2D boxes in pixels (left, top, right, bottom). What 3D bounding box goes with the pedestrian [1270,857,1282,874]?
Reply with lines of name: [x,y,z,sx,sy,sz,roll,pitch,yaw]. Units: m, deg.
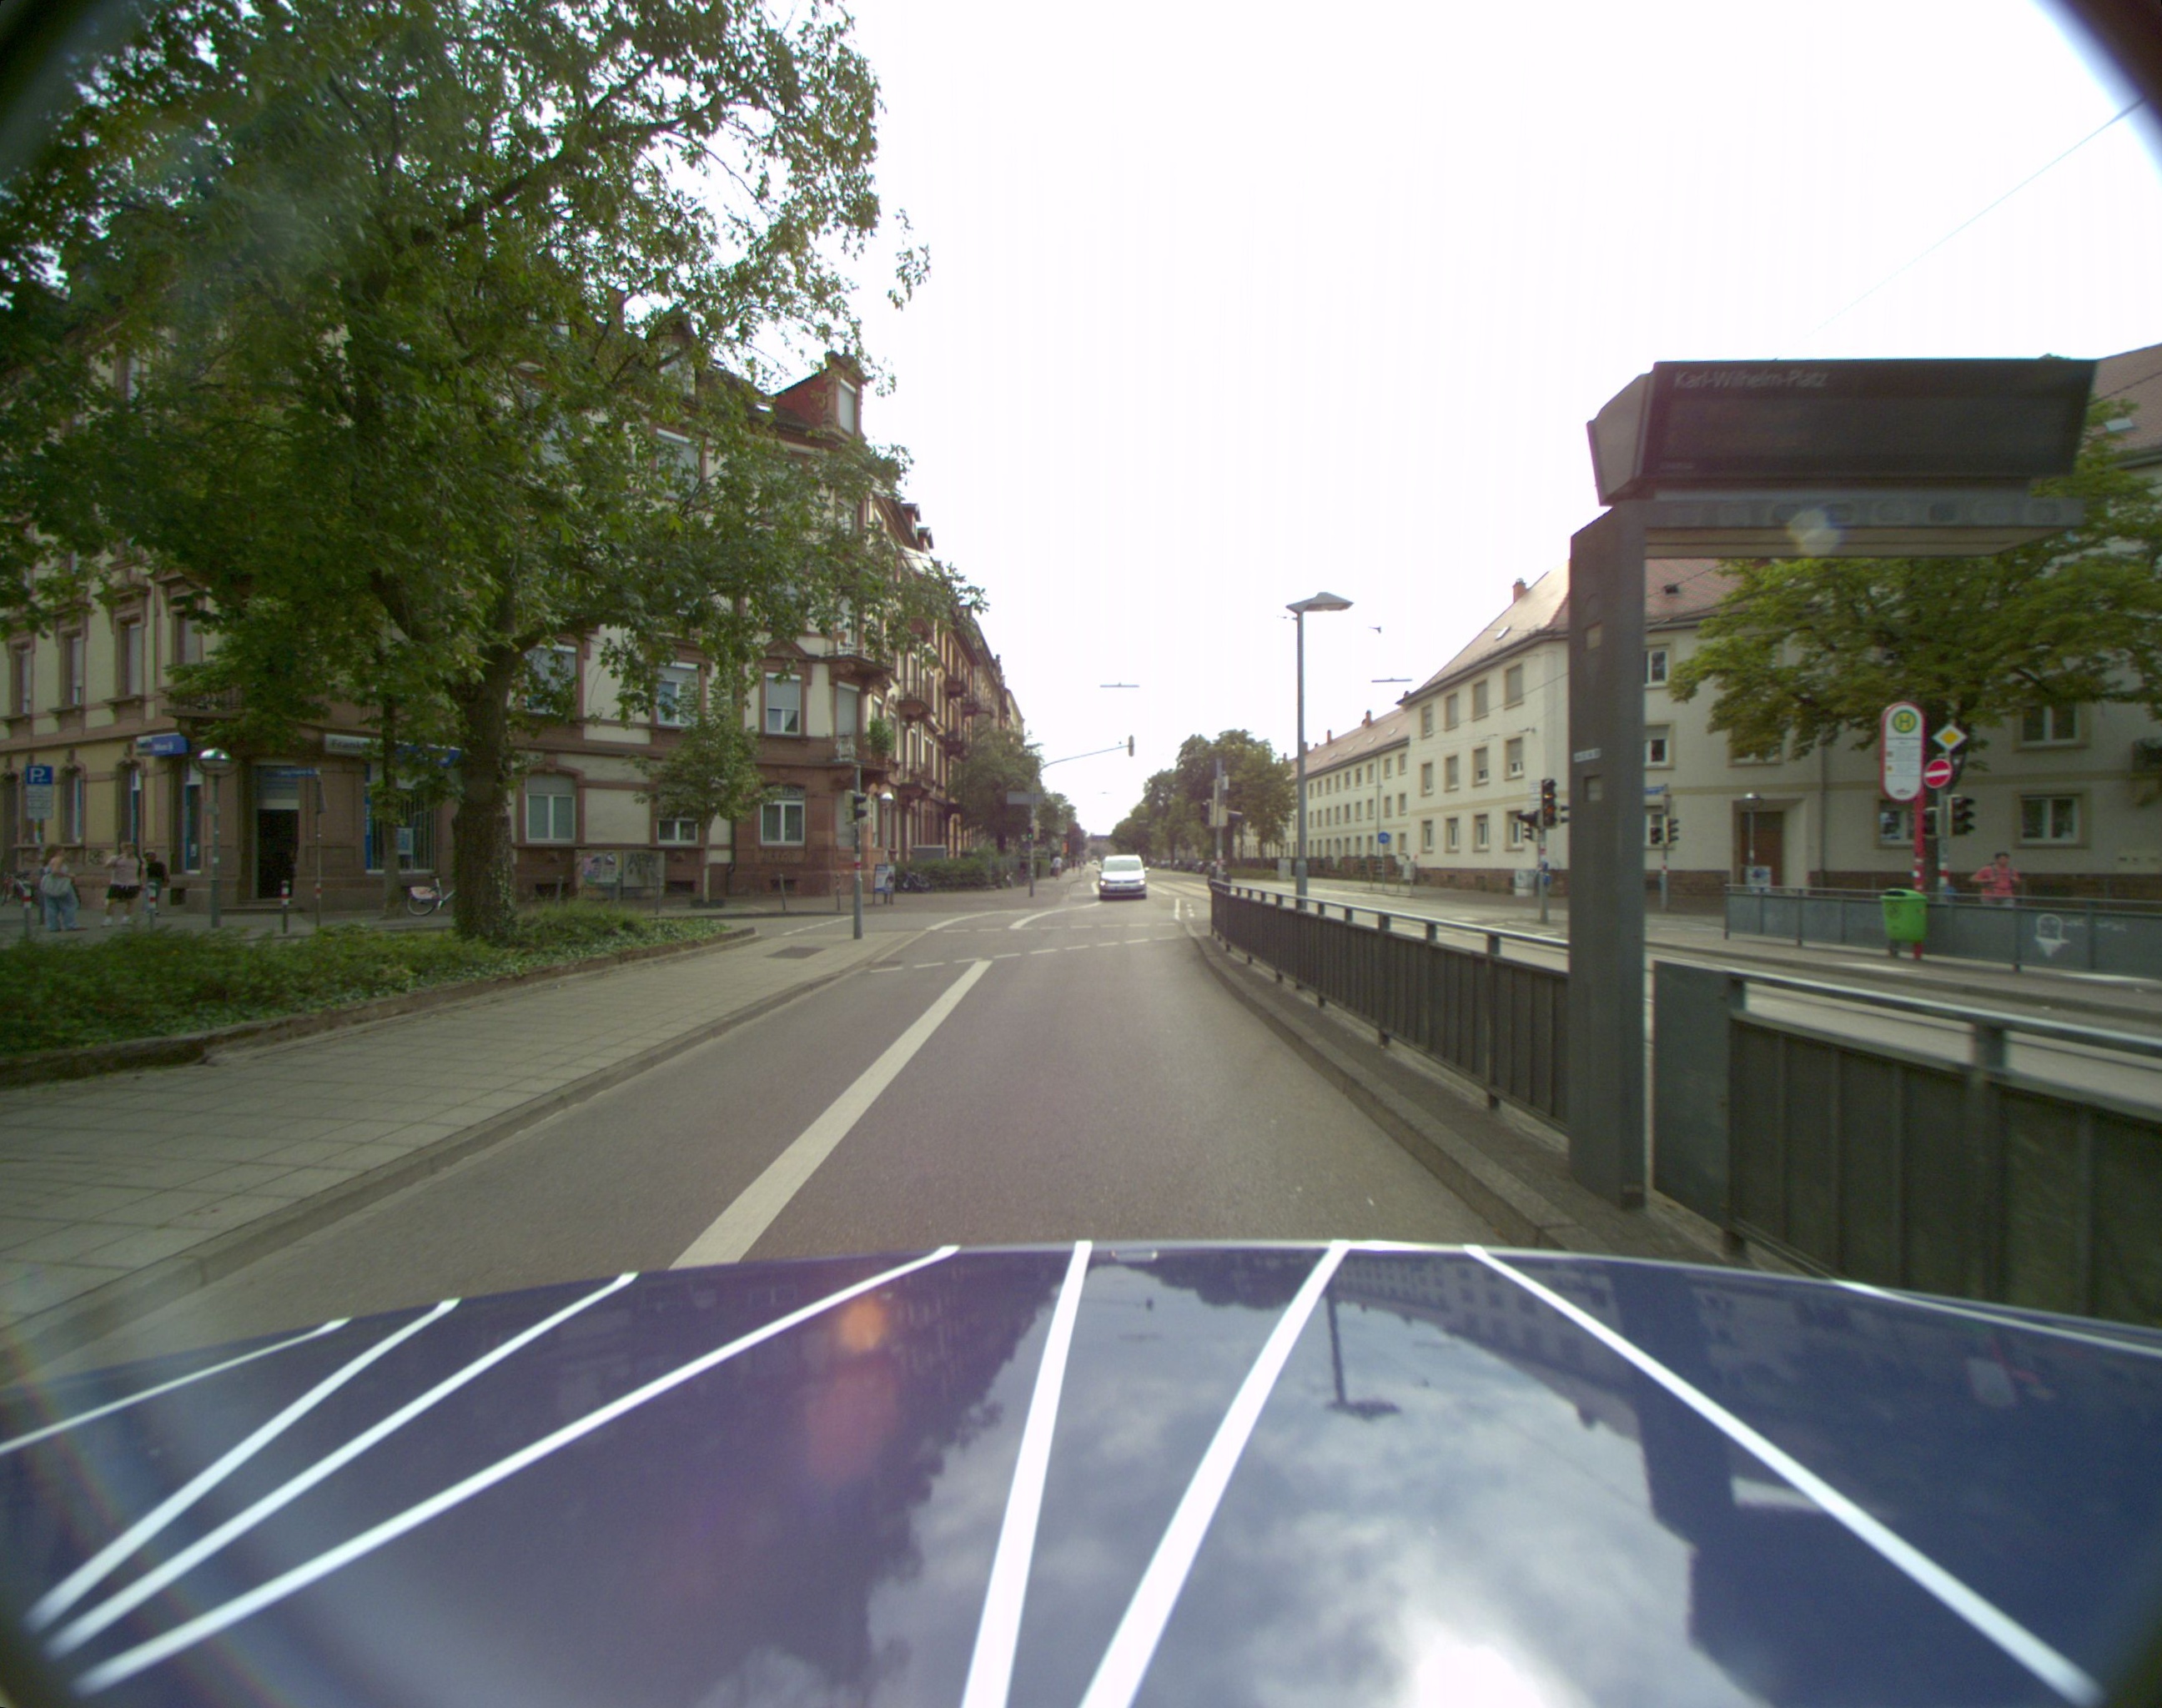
pedestrian: [17.883,1.038,69.719,0.835,1.503,0.732,0,0,-5]

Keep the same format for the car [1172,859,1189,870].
car: [13.982,1.487,106.680,1.701,1.462,4.299,0,0,-2]

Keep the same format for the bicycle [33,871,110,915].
bicycle: [-27.167,1.031,20.449,1.935,1.114,0.674,0,0,19]

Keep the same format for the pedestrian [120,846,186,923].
pedestrian: [-21.549,0.689,17.646,0.891,1.719,0.734,2,0,24]

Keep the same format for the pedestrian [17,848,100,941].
pedestrian: [-19.683,0.761,14.635,0.730,1.719,0.895,2,0,33]

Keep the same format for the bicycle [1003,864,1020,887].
bicycle: [-3.336,1.025,36.683,0.672,1.100,1.672,0,0,1]

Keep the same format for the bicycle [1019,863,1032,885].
bicycle: [-2.884,1.010,39.401,0.510,1.082,1.550,3,0,1]

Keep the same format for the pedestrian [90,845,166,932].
pedestrian: [-19.633,0.682,15.661,0.891,1.719,0.759,2,0,24]

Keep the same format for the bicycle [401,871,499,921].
bicycle: [-14.894,0.971,17.959,1.672,1.137,0.672,0,0,-8]

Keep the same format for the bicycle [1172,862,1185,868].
bicycle: [14.284,1.631,111.371,1.672,0.965,0.672,0,0,-9]

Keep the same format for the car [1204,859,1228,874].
car: [13.774,1.219,77.828,1.701,1.415,4.300,-3,0,0]

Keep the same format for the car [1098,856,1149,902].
car: [1.678,0.940,30.596,1.876,1.670,5.132,0,0,3]

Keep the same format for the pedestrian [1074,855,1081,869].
pedestrian: [-0.378,0.878,83.161,0.732,1.614,0.835,0,0,0]

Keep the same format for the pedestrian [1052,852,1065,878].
pedestrian: [-1.529,0.719,51.676,0.732,1.743,0.950,0,0,5]

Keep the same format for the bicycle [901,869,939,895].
bicycle: [-6.280,1.081,29.715,0.509,0.964,1.553,0,0,33]

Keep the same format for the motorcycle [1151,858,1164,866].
motorcycle: [14.269,1.472,141.602,2.311,1.382,0.838,-5,0,32]

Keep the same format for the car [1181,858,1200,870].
car: [14.027,1.271,97.507,1.790,1.602,4.300,0,0,0]

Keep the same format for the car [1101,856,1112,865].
car: [4.793,1.212,141.428,1.946,1.675,4.001,0,0,4]

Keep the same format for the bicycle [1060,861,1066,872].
bicycle: [-1.845,1.306,77.741,0.580,1.105,1.672,0,0,-1]

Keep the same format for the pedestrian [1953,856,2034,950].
pedestrian: [18.876,0.990,15.740,0.731,1.889,0.836,0,0,18]

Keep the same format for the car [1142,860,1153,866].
car: [14.284,1.928,163.354,1.732,1.462,4.299,0,0,-2]

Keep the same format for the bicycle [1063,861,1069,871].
bicycle: [-1.665,1.327,83.099,0.580,1.105,1.672,4,0,-1]

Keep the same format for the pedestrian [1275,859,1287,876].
pedestrian: [17.943,1.203,68.224,0.835,1.456,0.732,0,0,-5]

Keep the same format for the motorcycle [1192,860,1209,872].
motorcycle: [14.117,1.428,89.857,1.871,1.253,0.592,-5,0,-4]

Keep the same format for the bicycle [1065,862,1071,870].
bicycle: [-1.628,1.492,94.599,0.580,0.977,1.672,4,0,-1]

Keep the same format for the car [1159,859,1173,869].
car: [14.051,1.654,125.915,1.701,1.462,4.299,0,0,-2]

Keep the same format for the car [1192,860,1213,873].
car: [13.729,1.362,85.944,1.701,1.415,4.300,-1,0,0]

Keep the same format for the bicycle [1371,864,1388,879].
bicycle: [19.367,1.143,49.319,0.479,0.910,1.672,0,0,1]

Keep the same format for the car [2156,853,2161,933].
car: [24.517,0.919,14.546,4.146,1.711,1.845,3,3,40]
